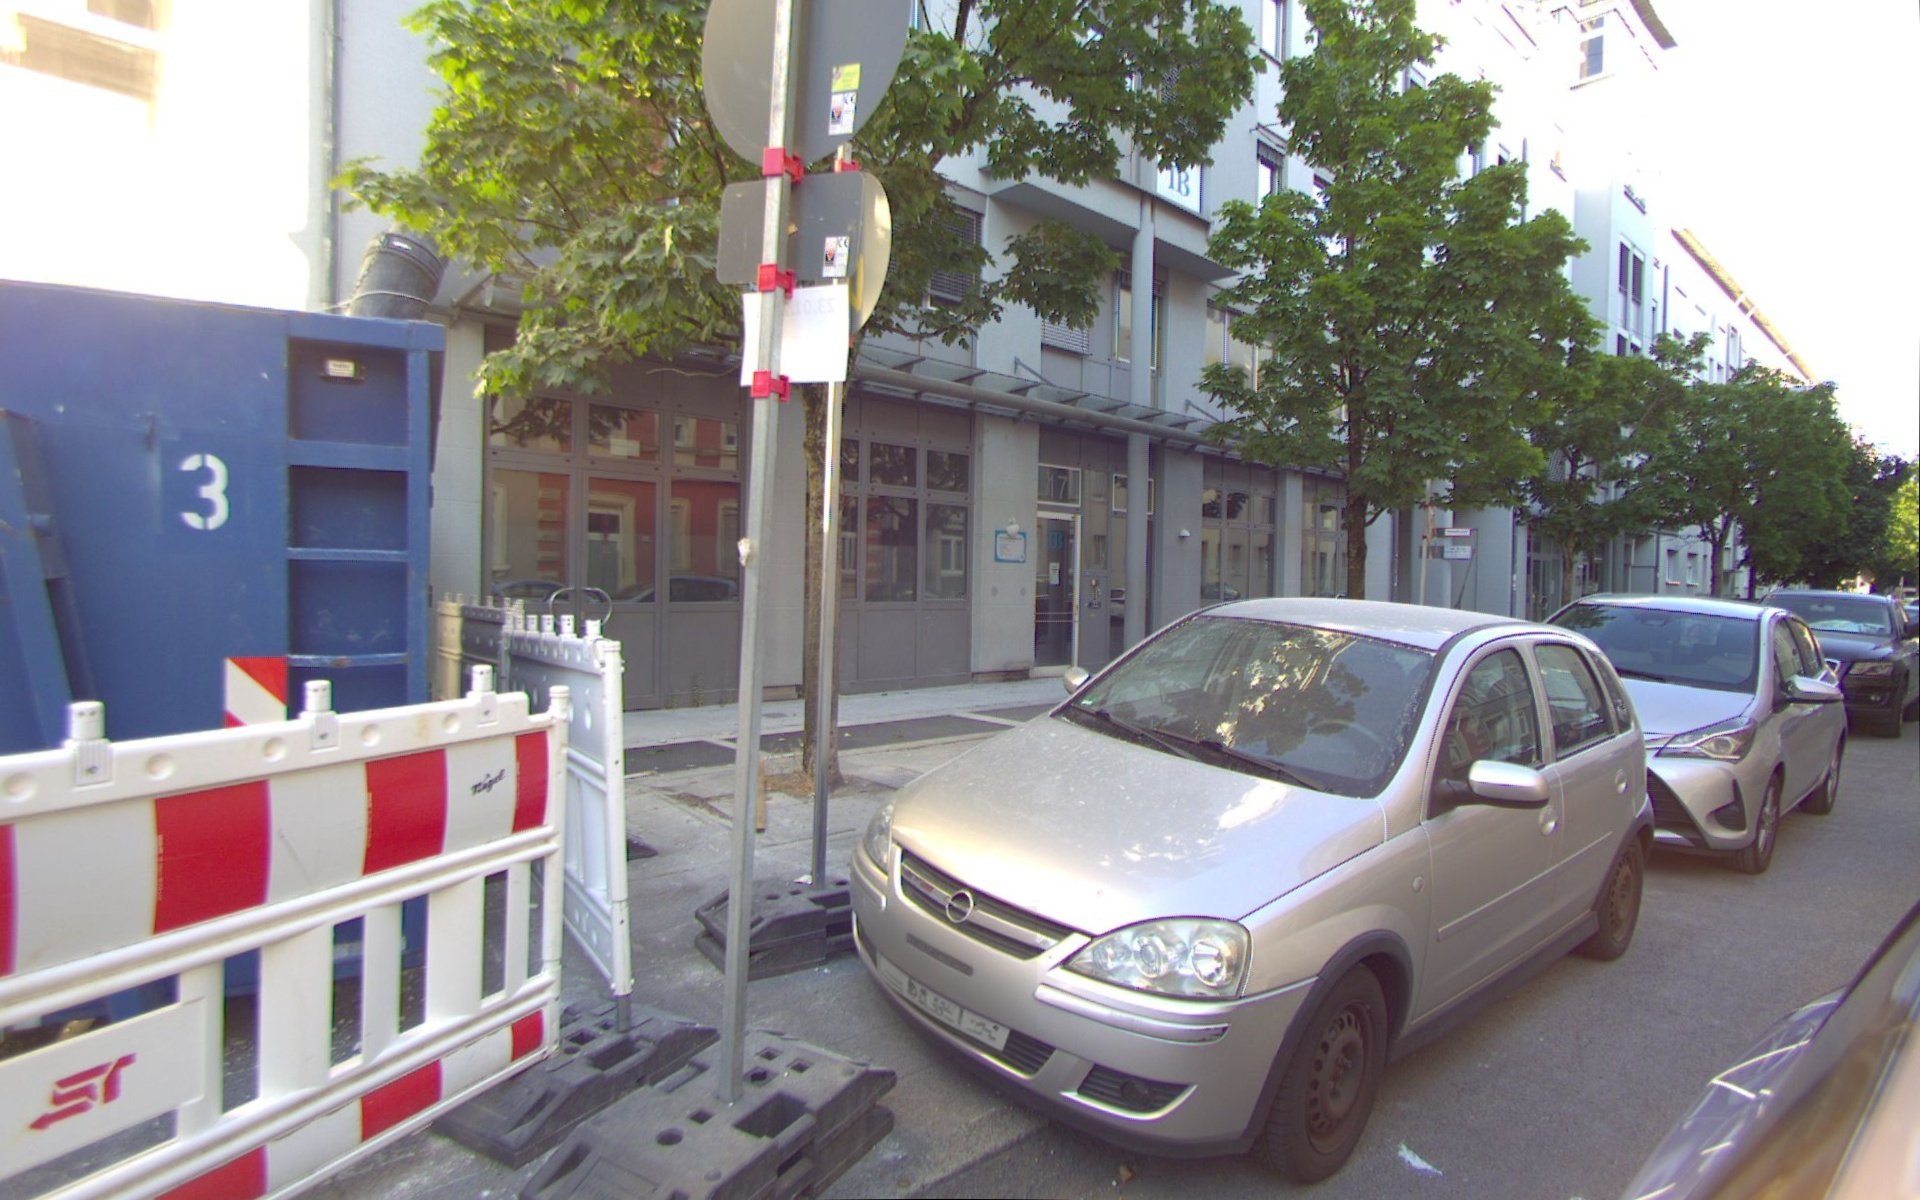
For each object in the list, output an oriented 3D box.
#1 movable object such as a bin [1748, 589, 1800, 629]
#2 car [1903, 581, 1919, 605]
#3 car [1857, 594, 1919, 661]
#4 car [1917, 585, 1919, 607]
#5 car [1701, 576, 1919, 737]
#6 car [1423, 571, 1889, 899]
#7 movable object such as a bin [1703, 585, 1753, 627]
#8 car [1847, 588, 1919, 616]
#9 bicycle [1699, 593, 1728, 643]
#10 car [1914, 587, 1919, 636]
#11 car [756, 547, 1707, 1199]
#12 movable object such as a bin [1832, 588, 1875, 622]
[{"bbox_3d":[29.231,0.311,36.335,1.120,1.337,1.263,0,3,-43],"label":"movable object such as a bin"},{"bbox_3d":[96.711,-0.703,101.330,2.147,2.311,6.135,4,3,33],"label":"car"},{"bbox_3d":[22.899,0.619,24.185,4.272,1.446,1.766,0,3,-43],"label":"car"},{"bbox_3d":[80.607,-0.226,81.963,2.044,1.792,4.215,0,3,-39],"label":"car"},{"bbox_3d":[11.186,0.579,12.983,4.360,1.642,1.888,0,3,-43],"label":"car"},{"bbox_3d":[4.866,0.634,6.859,3.902,1.543,1.679,0,3,-42],"label":"car"},{"bbox_3d":[28.177,0.193,37.129,1.120,1.454,1.263,0,3,-43],"label":"movable object such as a bin"},{"bbox_3d":[59.879,0.111,65.167,1.967,1.584,3.991,0,4,-44],"label":"car"},{"bbox_3d":[19.177,0.429,25.780,0.519,1.182,1.718,4,3,36],"label":"bicycle"},{"bbox_3d":[34.834,0.425,35.438,4.646,1.655,1.873,-1,3,-45],"label":"car"},{"bbox_3d":[1.279,0.619,3.853,3.664,1.493,1.680,0,3,-40],"label":"car"},{"bbox_3d":[40.122,0.211,45.461,1.202,1.454,1.286,0,3,-43],"label":"movable object such as a bin"}]
